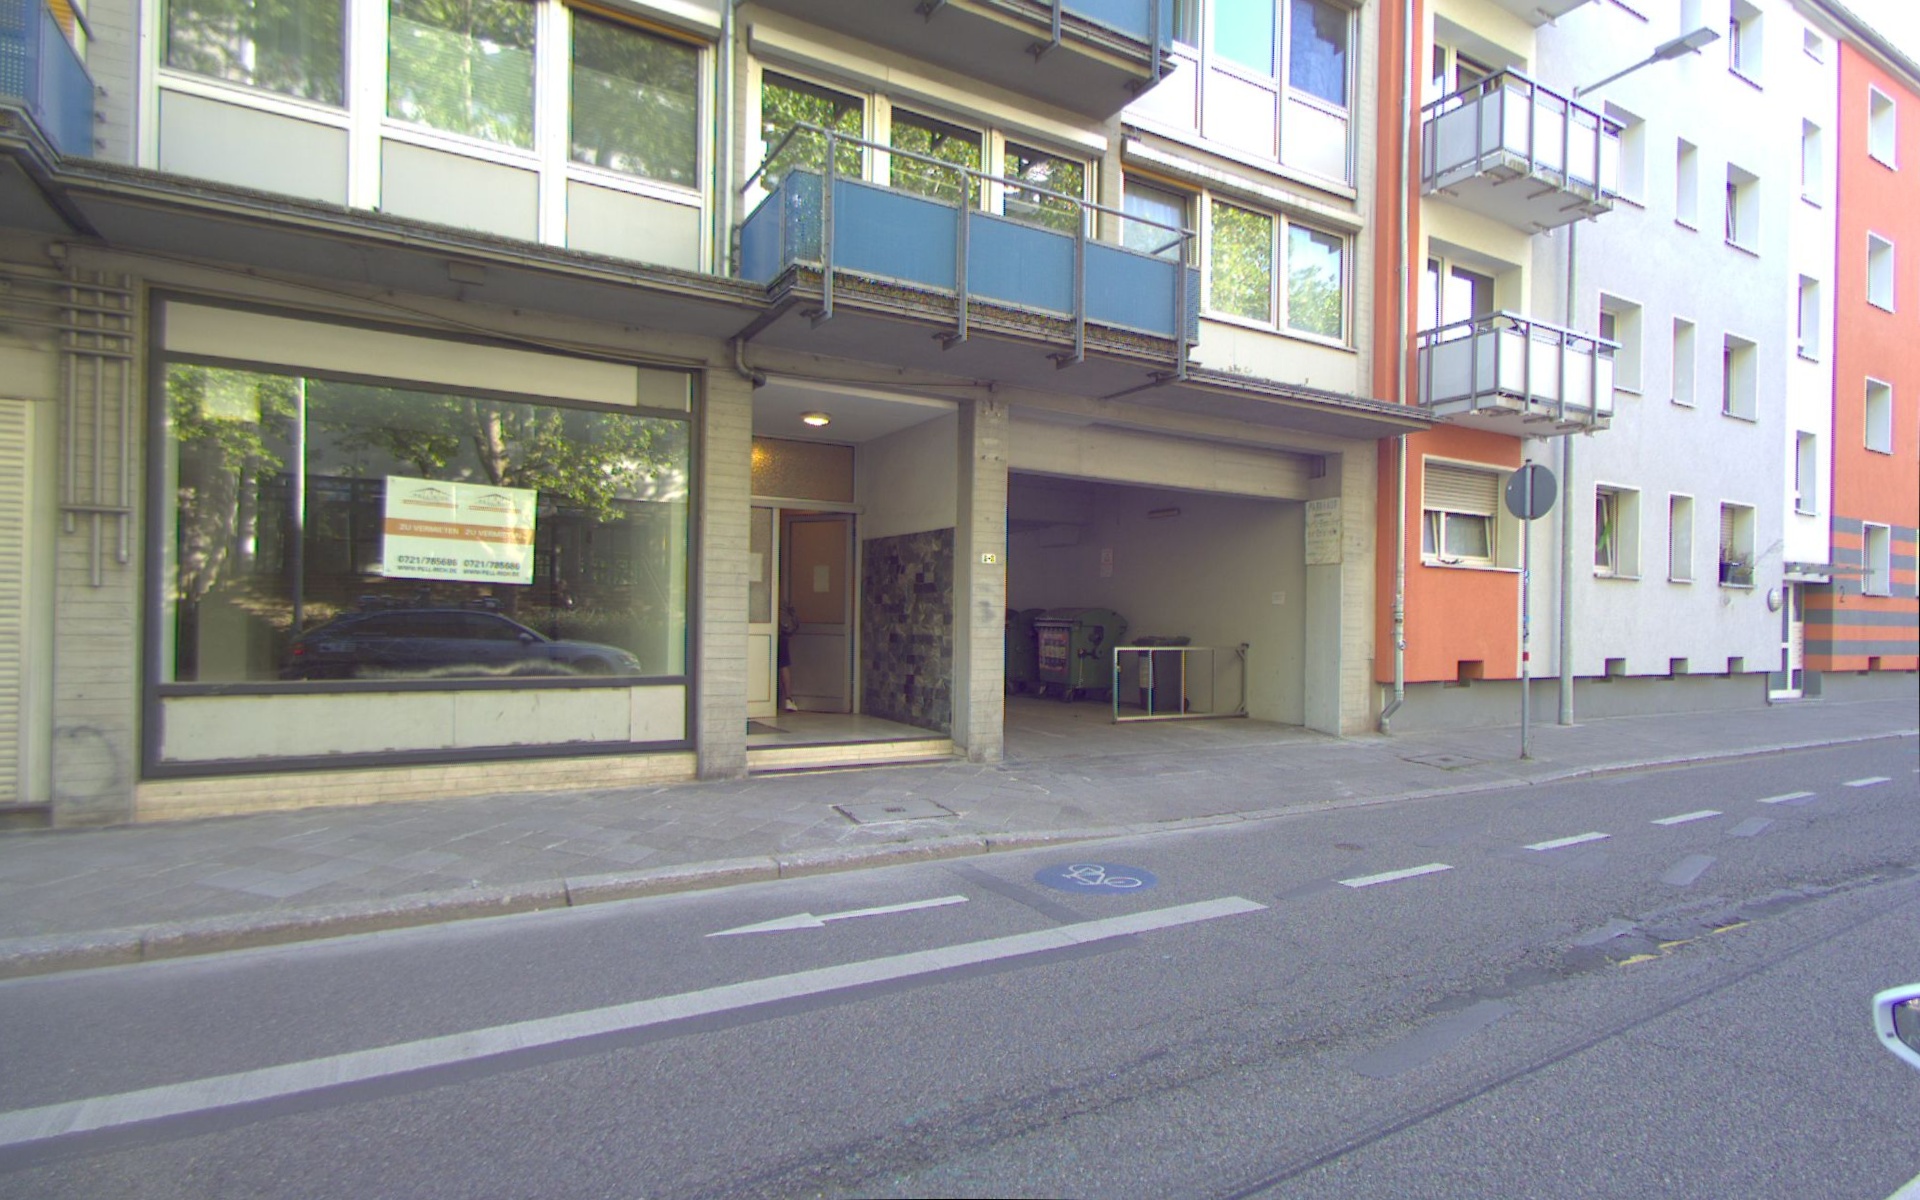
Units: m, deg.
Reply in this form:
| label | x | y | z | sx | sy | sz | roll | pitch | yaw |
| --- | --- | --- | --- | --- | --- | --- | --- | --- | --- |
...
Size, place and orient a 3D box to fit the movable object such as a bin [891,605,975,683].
| label | x | y | z | sx | sy | sz | roll | pitch | yaw |
| --- | --- | --- | --- | --- | --- | --- | --- | --- | --- |
| movable object such as a bin | -0.546 | 0.858 | 19.929 | 1.182 | 1.452 | 1.300 | 2 | 0 | -30 |

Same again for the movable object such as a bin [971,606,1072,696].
| label | x | y | z | sx | sy | sz | roll | pitch | yaw |
| --- | --- | --- | --- | --- | --- | --- | --- | --- | --- |
| movable object such as a bin | 1.034 | 0.847 | 17.191 | 1.182 | 1.452 | 1.300 | 2 | 0 | -30 |

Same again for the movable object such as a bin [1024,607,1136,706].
| label | x | y | z | sx | sy | sz | roll | pitch | yaw |
| --- | --- | --- | --- | --- | --- | --- | --- | --- | --- |
| movable object such as a bin | 1.875 | 0.866 | 15.804 | 1.182 | 1.452 | 1.300 | 2 | 0 | -30 |

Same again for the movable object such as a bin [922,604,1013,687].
| label | x | y | z | sx | sy | sz | roll | pitch | yaw |
| --- | --- | --- | --- | --- | --- | --- | --- | --- | --- |
| movable object such as a bin | 0.121 | 0.828 | 18.765 | 1.182 | 1.452 | 1.300 | 2 | 0 | -30 |

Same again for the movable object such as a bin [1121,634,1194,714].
| label | x | y | z | sx | sy | sz | roll | pitch | yaw |
| --- | --- | --- | --- | --- | --- | --- | --- | --- | --- |
| movable object such as a bin | 2.852 | 1.059 | 14.521 | 0.707 | 1.089 | 0.735 | 2 | 0 | -30 |

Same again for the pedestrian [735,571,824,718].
| label | x | y | z | sx | sy | sz | roll | pitch | yaw |
| --- | --- | --- | --- | --- | --- | --- | --- | --- | --- |
| pedestrian | -2.069 | 0.488 | 11.487 | 0.913 | 1.606 | 0.562 | 1 | 0 | 43 |
